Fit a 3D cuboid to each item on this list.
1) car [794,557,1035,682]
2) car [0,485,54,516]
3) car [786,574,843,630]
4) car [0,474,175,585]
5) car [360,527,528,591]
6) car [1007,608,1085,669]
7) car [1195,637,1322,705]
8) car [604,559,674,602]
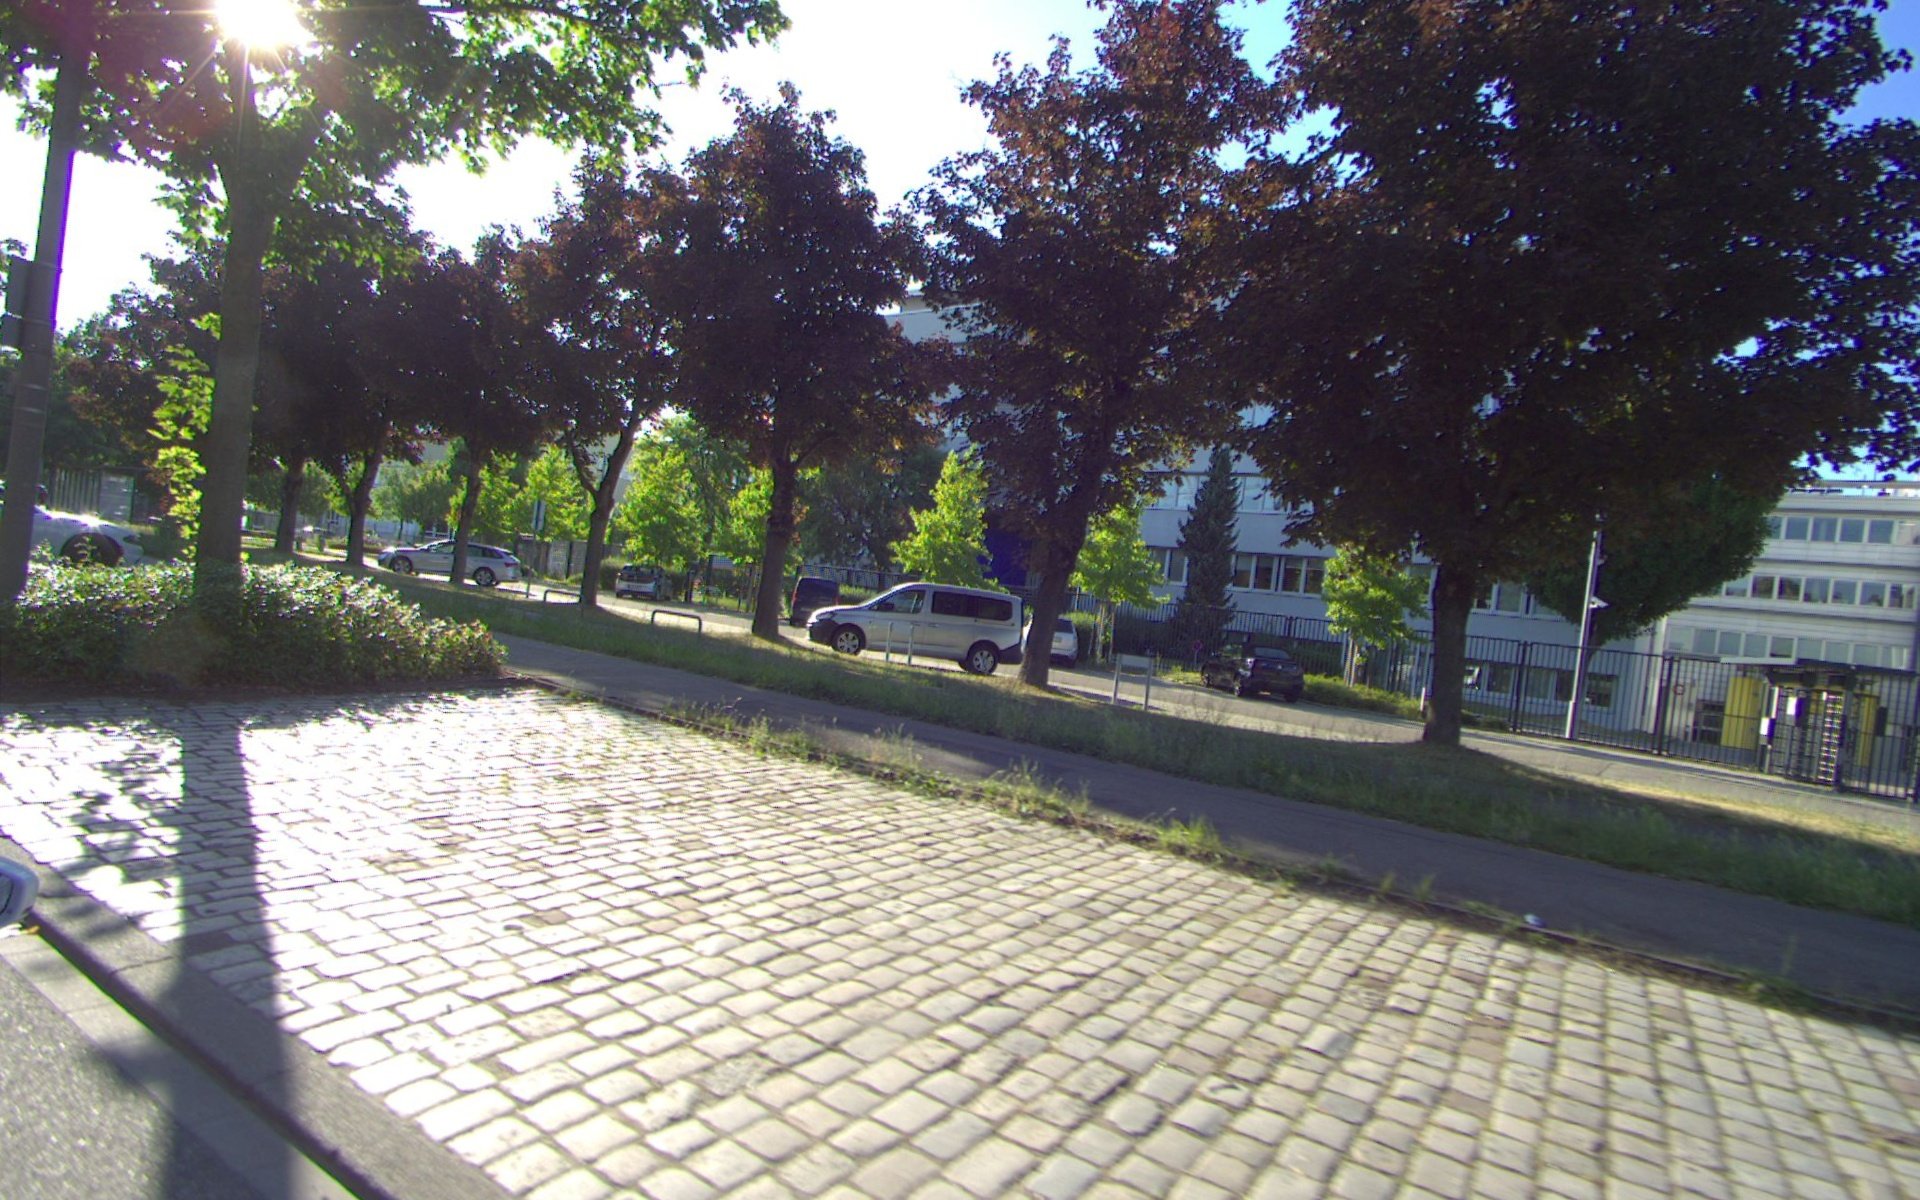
[{"bbox_3d":[-1.044,0.431,22.110,4.871,1.957,1.997,8,0,-8],"label":"car"},{"bbox_3d":[-68.896,-7.345,72.907,2.028,1.726,4.429,7,0,37],"label":"car"},{"bbox_3d":[-5.358,0.048,37.531,1.736,1.771,4.490,7,0,-6],"label":"car"},{"bbox_3d":[-16.407,-1.349,16.411,2.122,1.593,5.181,7,0,32],"label":"car"},{"bbox_3d":[-18.251,-1.428,35.832,4.878,1.593,1.994,7,0,-16],"label":"car"},{"bbox_3d":[2.561,1.130,31.038,1.774,1.547,4.312,7,0,-1],"label":"car"},{"bbox_3d":[7.932,1.856,27.154,1.775,1.370,3.996,7,0,-5],"label":"car"},{"bbox_3d":[-13.937,-0.808,43.948,1.736,1.546,4.301,7,0,-4],"label":"car"}]
